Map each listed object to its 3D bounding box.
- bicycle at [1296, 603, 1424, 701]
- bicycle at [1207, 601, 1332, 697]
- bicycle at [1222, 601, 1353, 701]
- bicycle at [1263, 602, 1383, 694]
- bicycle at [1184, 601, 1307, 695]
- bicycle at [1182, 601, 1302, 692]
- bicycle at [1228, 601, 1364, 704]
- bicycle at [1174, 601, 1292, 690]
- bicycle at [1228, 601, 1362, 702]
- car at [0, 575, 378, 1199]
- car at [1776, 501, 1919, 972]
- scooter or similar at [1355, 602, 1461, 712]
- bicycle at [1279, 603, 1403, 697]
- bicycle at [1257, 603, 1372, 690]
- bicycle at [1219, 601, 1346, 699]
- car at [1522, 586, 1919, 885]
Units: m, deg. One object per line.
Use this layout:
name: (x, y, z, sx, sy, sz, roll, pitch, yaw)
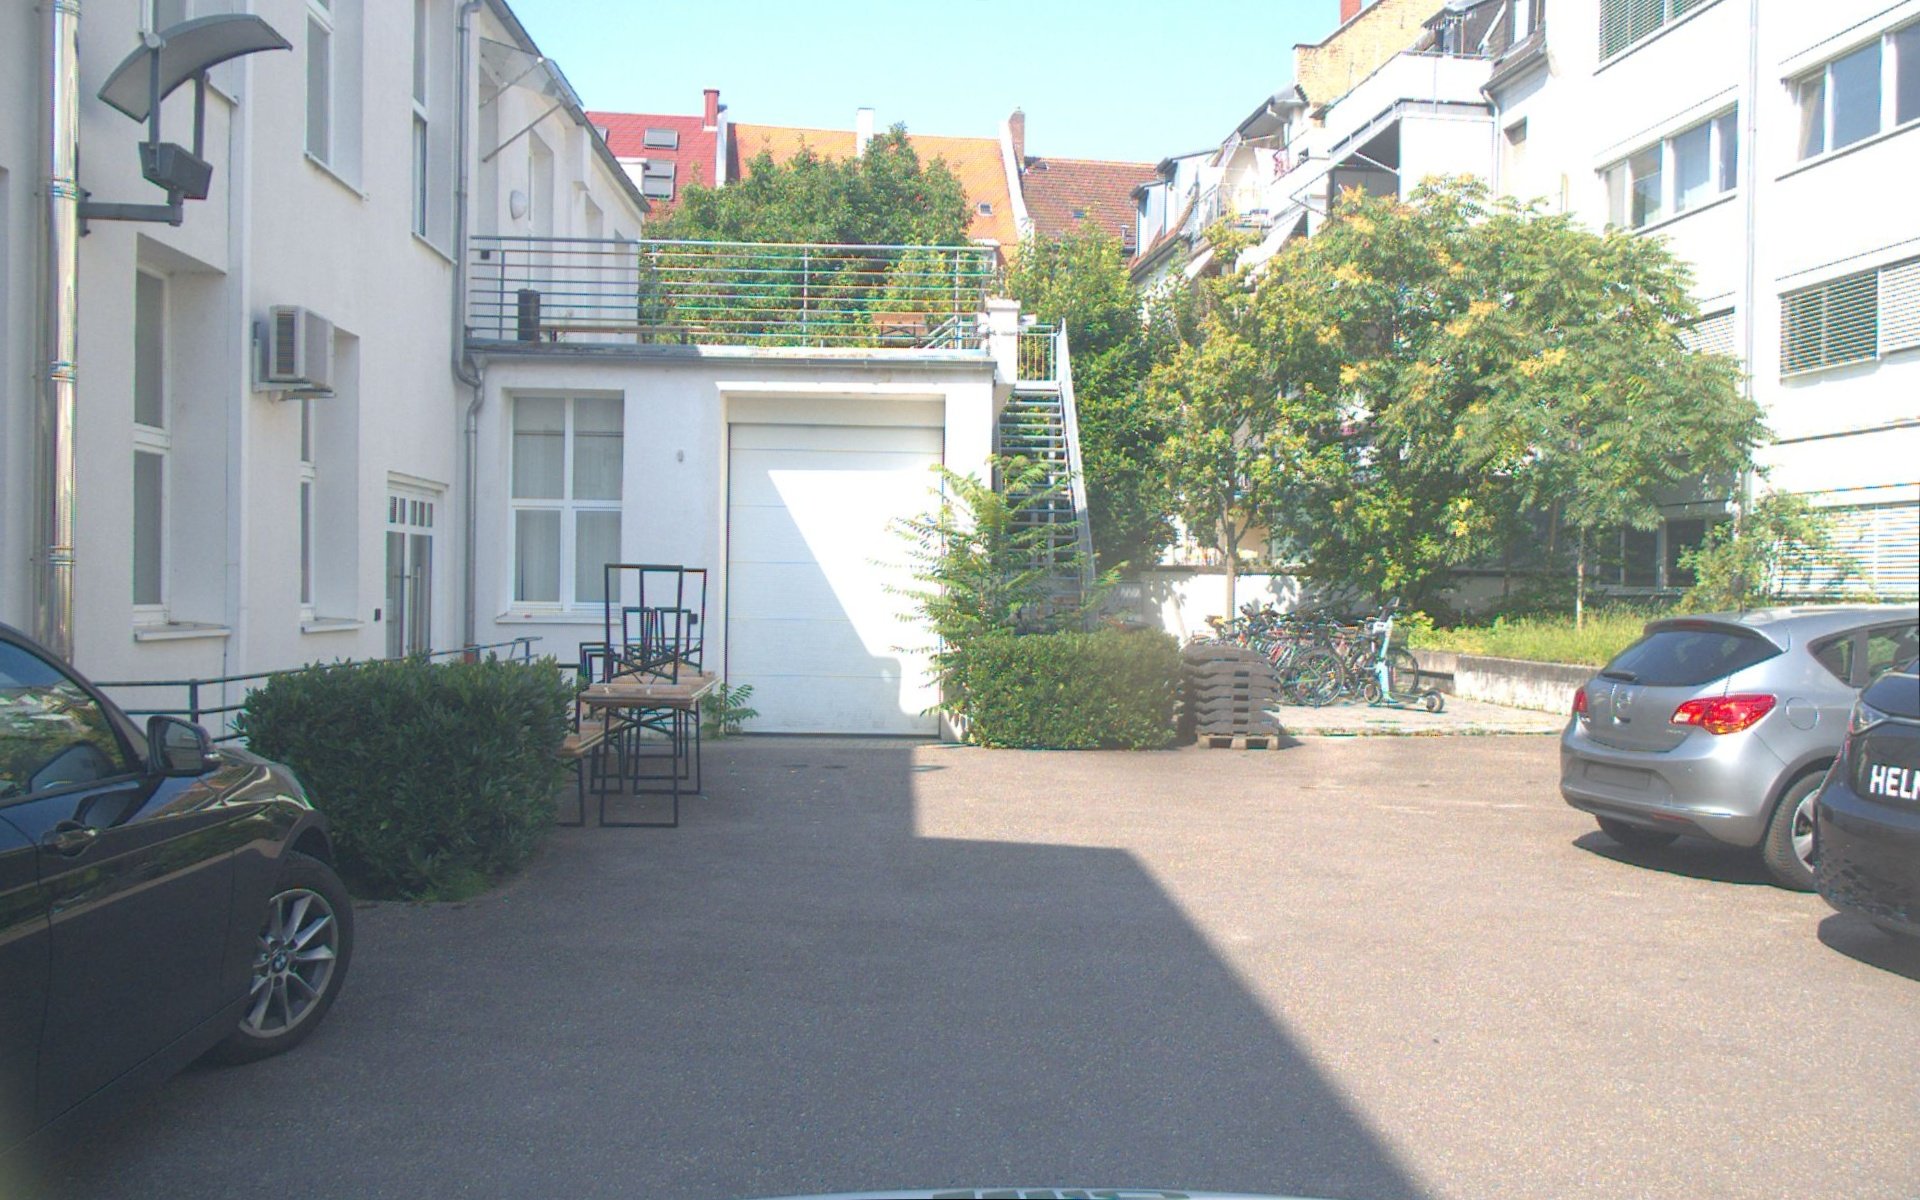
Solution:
bicycle: (5.130, 0.656, 21.254, 1.588, 1.235, 0.327, 0, 0, 13)
bicycle: (4.056, 0.640, 21.680, 1.588, 1.235, 0.327, 0, 0, 11)
bicycle: (4.123, 0.640, 20.867, 1.590, 1.235, 0.327, 0, 0, -1)
bicycle: (4.967, 0.657, 22.686, 1.588, 1.235, 0.424, 0, 0, 10)
bicycle: (3.851, 0.639, 22.350, 1.590, 1.235, 0.424, 0, 0, -3)
bicycle: (3.913, 0.641, 22.987, 1.592, 1.235, 0.423, 0, 0, -8)
bicycle: (4.105, 0.638, 20.251, 1.590, 1.235, 0.327, 0, 0, -1)
bicycle: (3.890, 0.642, 23.589, 1.592, 1.235, 0.423, 0, 0, -7)
bicycle: (4.160, 0.640, 20.575, 1.590, 1.235, 0.327, 0, 0, -1)
car: (-2.589, 0.684, 3.284, 1.655, 1.484, 3.920, 1, 0, -3)
car: (5.902, 0.530, 6.736, 4.420, 1.826, 1.878, 0, -1, -11)
scooter or similar: (5.418, 0.665, 20.053, 0.375, 1.283, 1.333, 0, 0, -33)
bicycle: (5.078, 0.658, 22.114, 1.588, 1.235, 0.424, 0, 0, 11)
bicycle: (5.075, 0.661, 23.716, 1.588, 1.235, 0.424, 0, 0, 10)
bicycle: (4.144, 0.641, 21.319, 1.588, 1.235, 0.327, 0, 0, 8)
car: (5.484, 0.692, 9.606, 3.862, 1.508, 1.770, 0, -1, -11)
